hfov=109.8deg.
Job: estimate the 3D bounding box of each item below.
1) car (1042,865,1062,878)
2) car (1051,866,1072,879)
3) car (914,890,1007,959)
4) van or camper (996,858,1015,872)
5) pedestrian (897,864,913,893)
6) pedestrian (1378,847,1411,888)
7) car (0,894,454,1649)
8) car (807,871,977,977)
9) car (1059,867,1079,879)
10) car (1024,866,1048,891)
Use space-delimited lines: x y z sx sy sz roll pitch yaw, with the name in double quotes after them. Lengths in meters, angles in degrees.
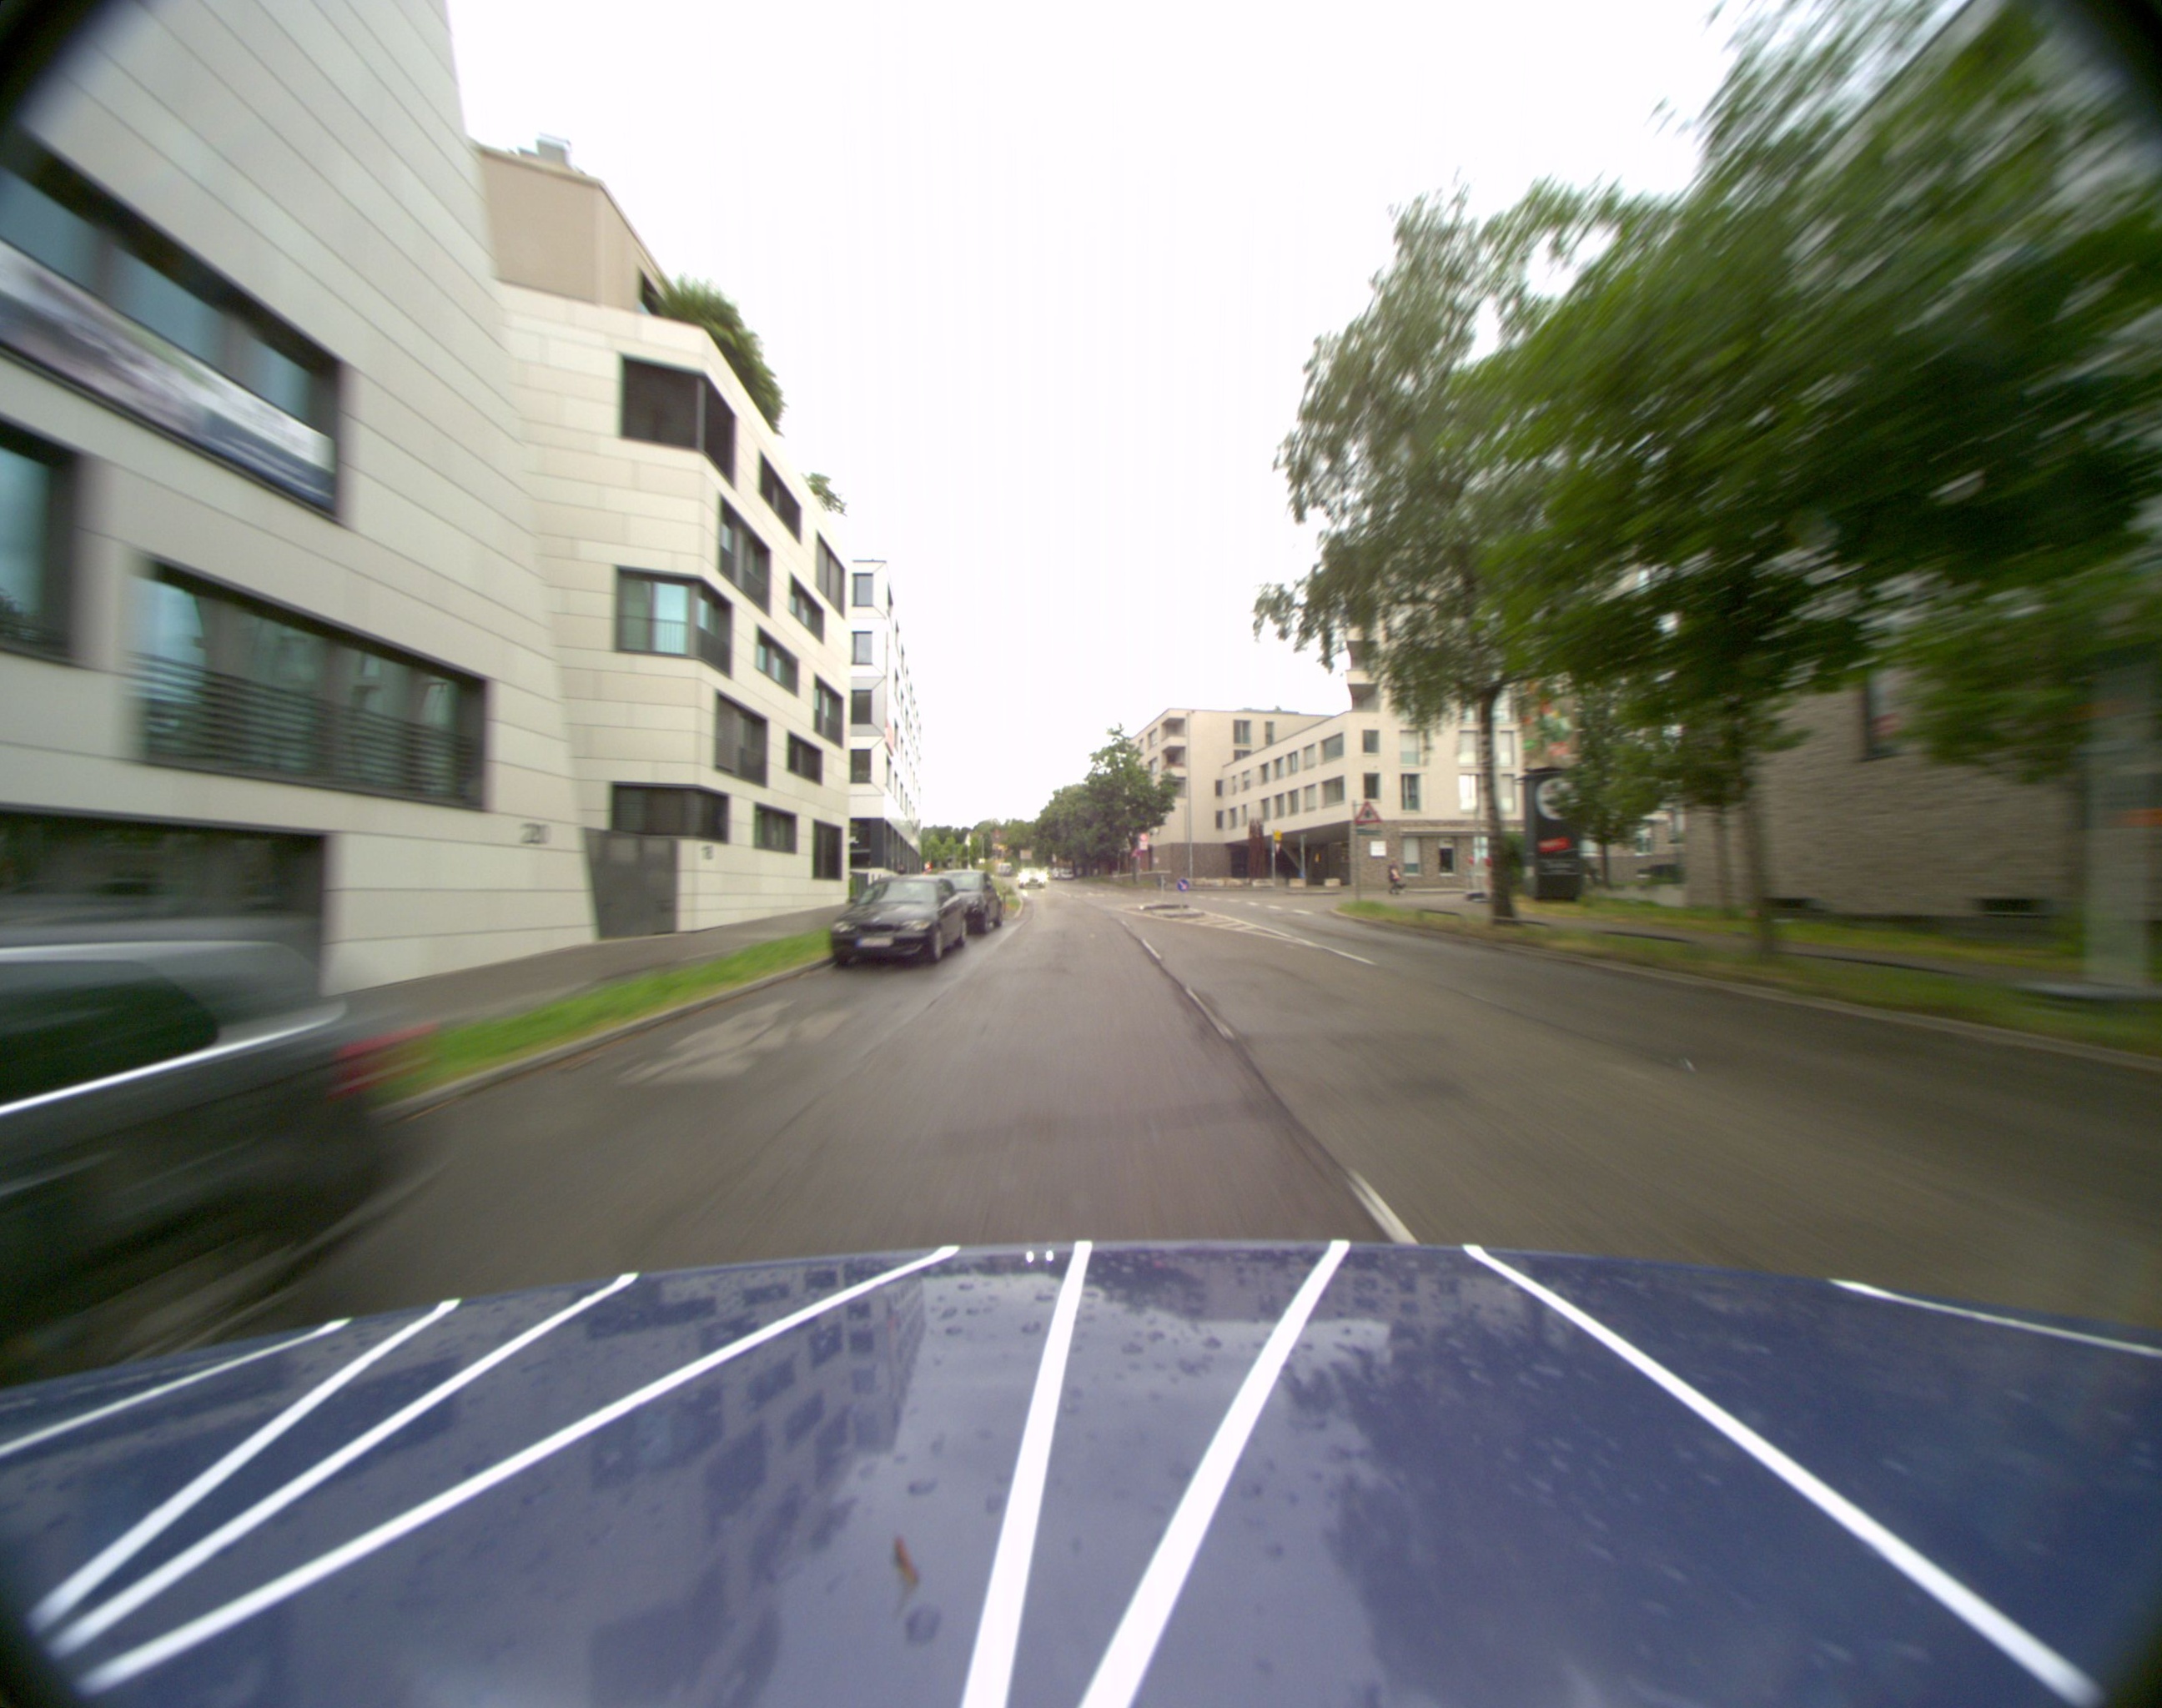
-4.253 2.476 109.317 2.000 1.776 5.405 -1 0 -12 "car"
-2.678 2.517 104.045 1.997 1.584 4.485 -1 0 -12 "car"
-2.883 1.663 18.845 1.549 1.469 3.662 -1 -2 2 "car"
-14.660 2.135 147.043 2.350 2.748 6.133 -1 -1 -19 "van or camper"
-11.003 1.506 47.615 0.825 1.785 1.207 0 0 -5 "pedestrian"
15.790 0.672 38.301 1.060 2.002 1.097 -1 0 -29 "pedestrian"
-3.246 0.925 0.344 1.812 1.554 4.847 -1 0 1 "car"
-3.124 1.098 13.557 1.812 1.475 4.495 -1 0 1 "car"
-1.649 2.467 99.497 1.886 1.454 3.843 -1 0 -12 "car"
-3.809 2.022 63.937 1.848 1.961 4.342 -1 0 -4 "car"
